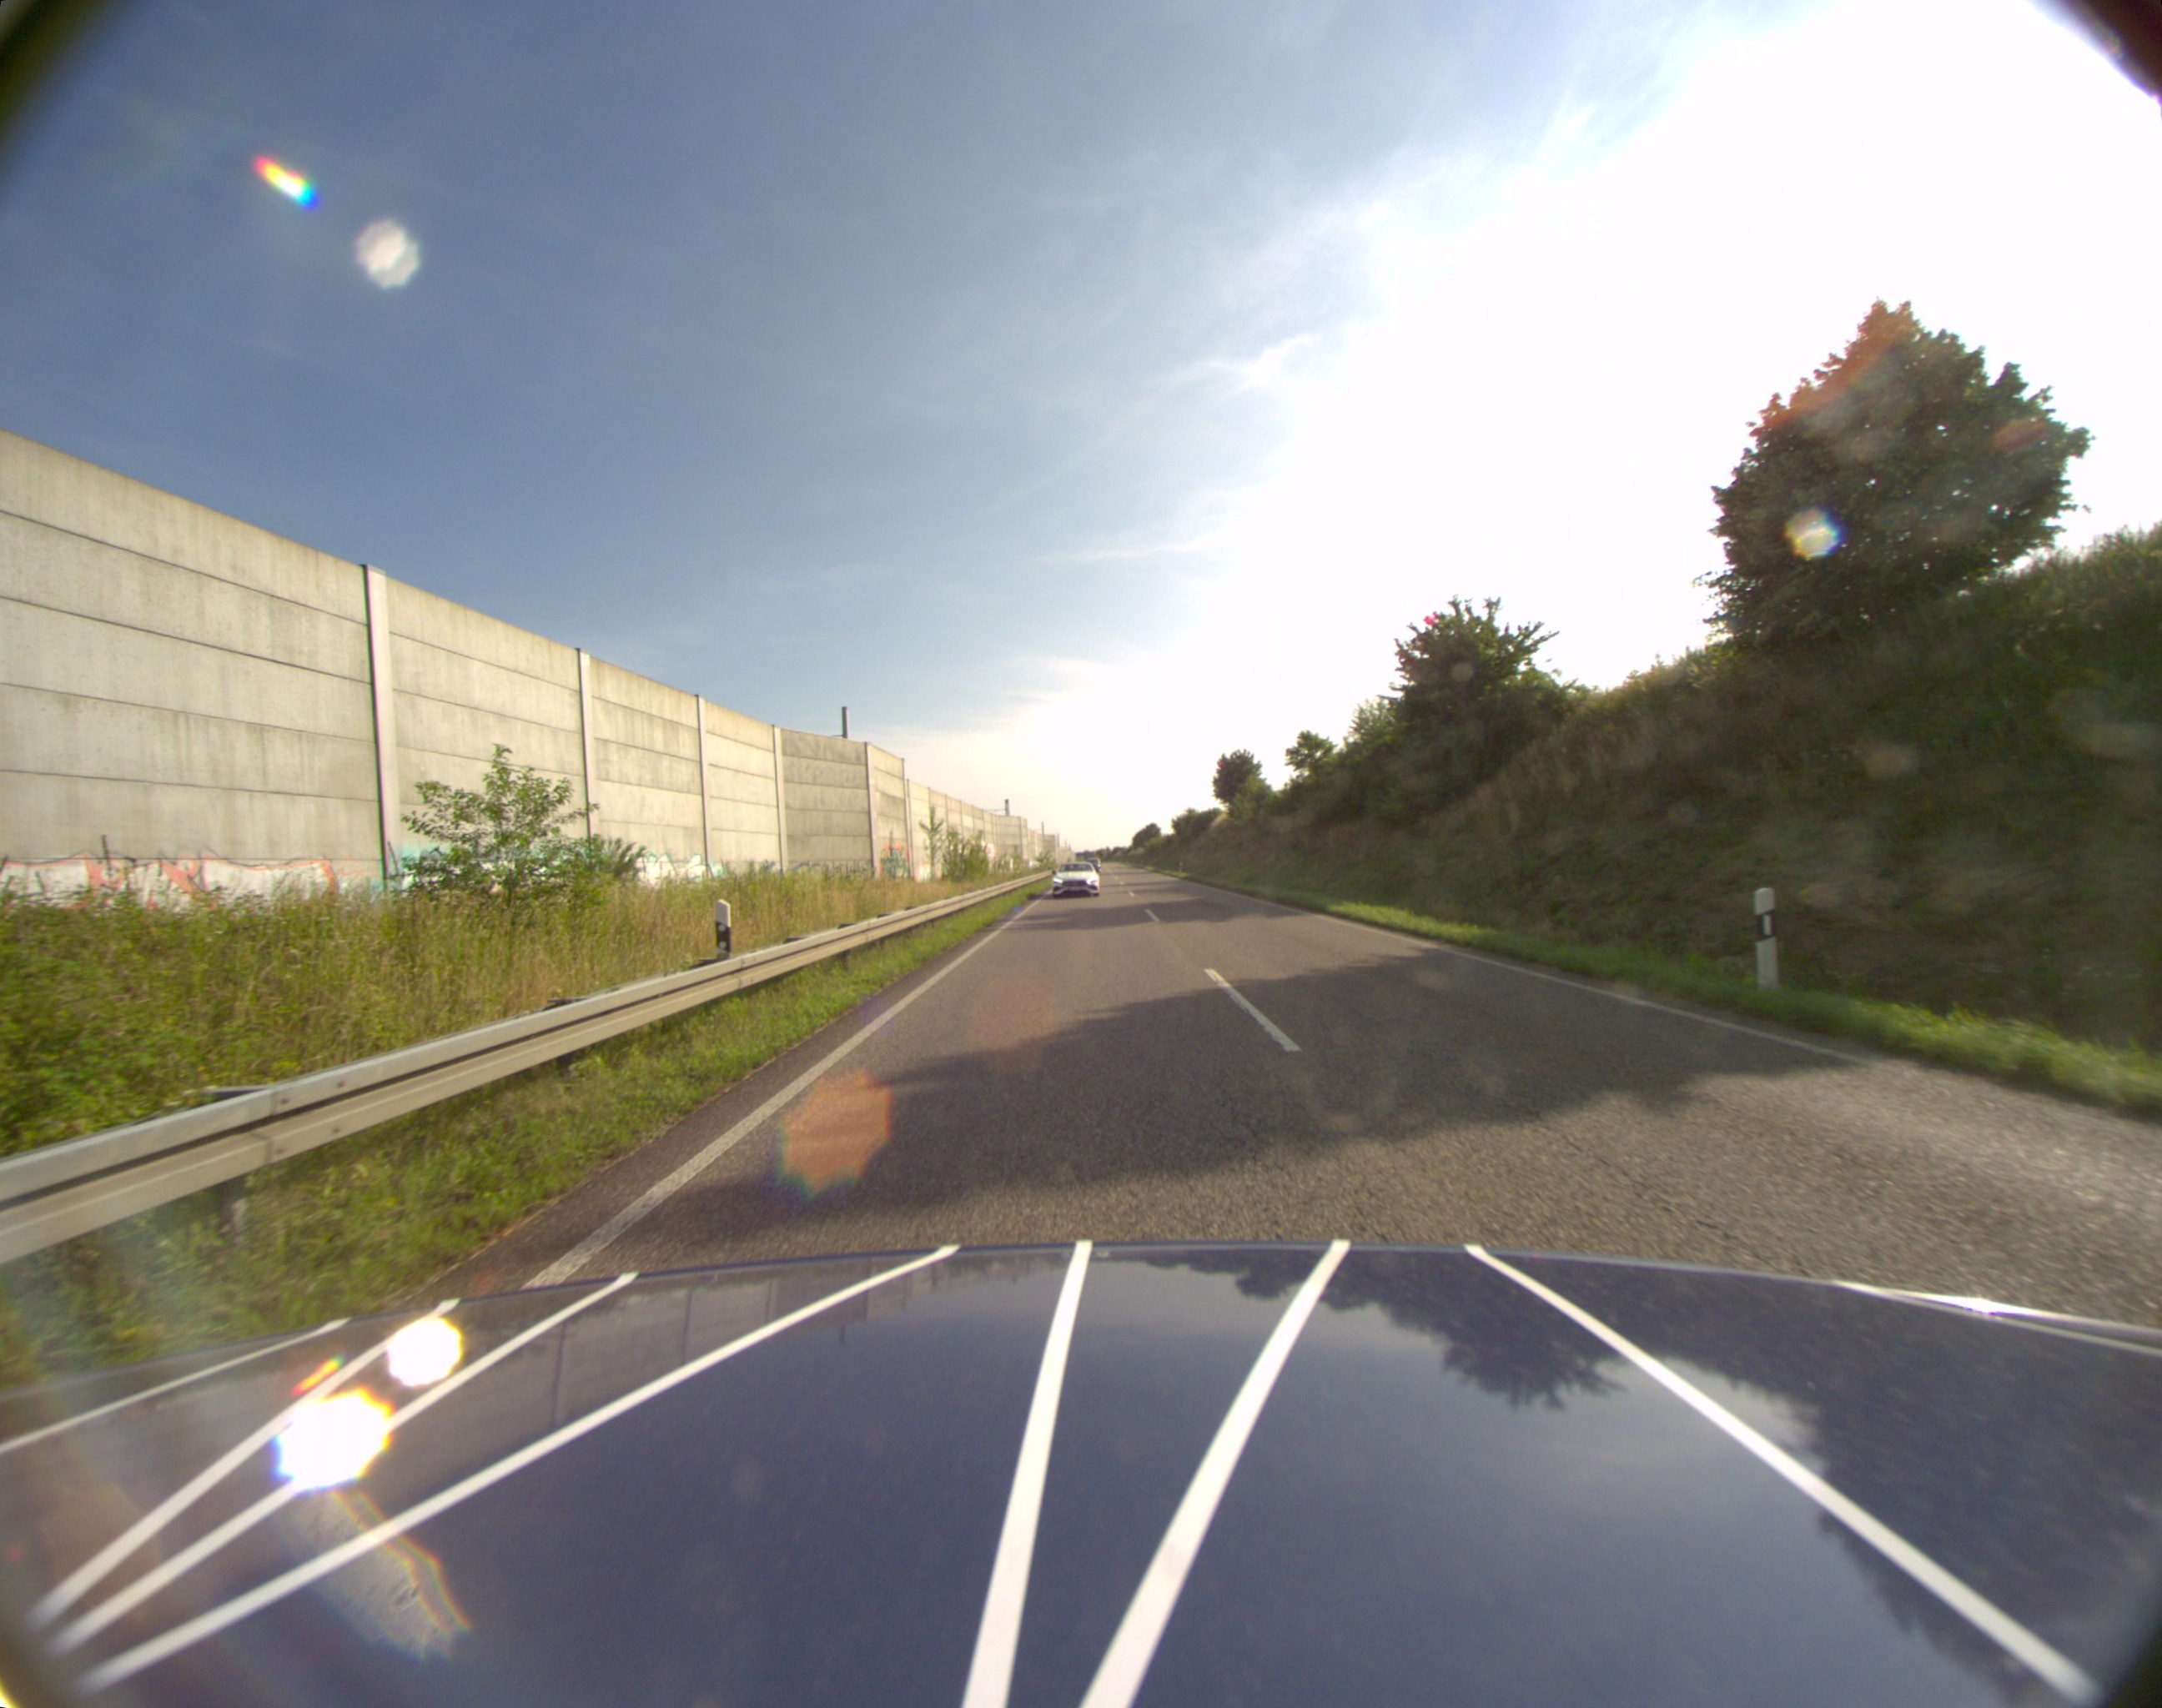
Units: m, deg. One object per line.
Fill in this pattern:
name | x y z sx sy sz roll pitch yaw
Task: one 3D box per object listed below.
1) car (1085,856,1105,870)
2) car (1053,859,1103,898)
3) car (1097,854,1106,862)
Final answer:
car | 1.482 0.926 79.245 1.929 1.399 4.974 -1 0 2
car | -0.101 0.963 32.057 1.930 1.399 4.973 -2 0 0
car | 4.426 0.813 164.207 1.998 1.746 4.000 -2 0 1
